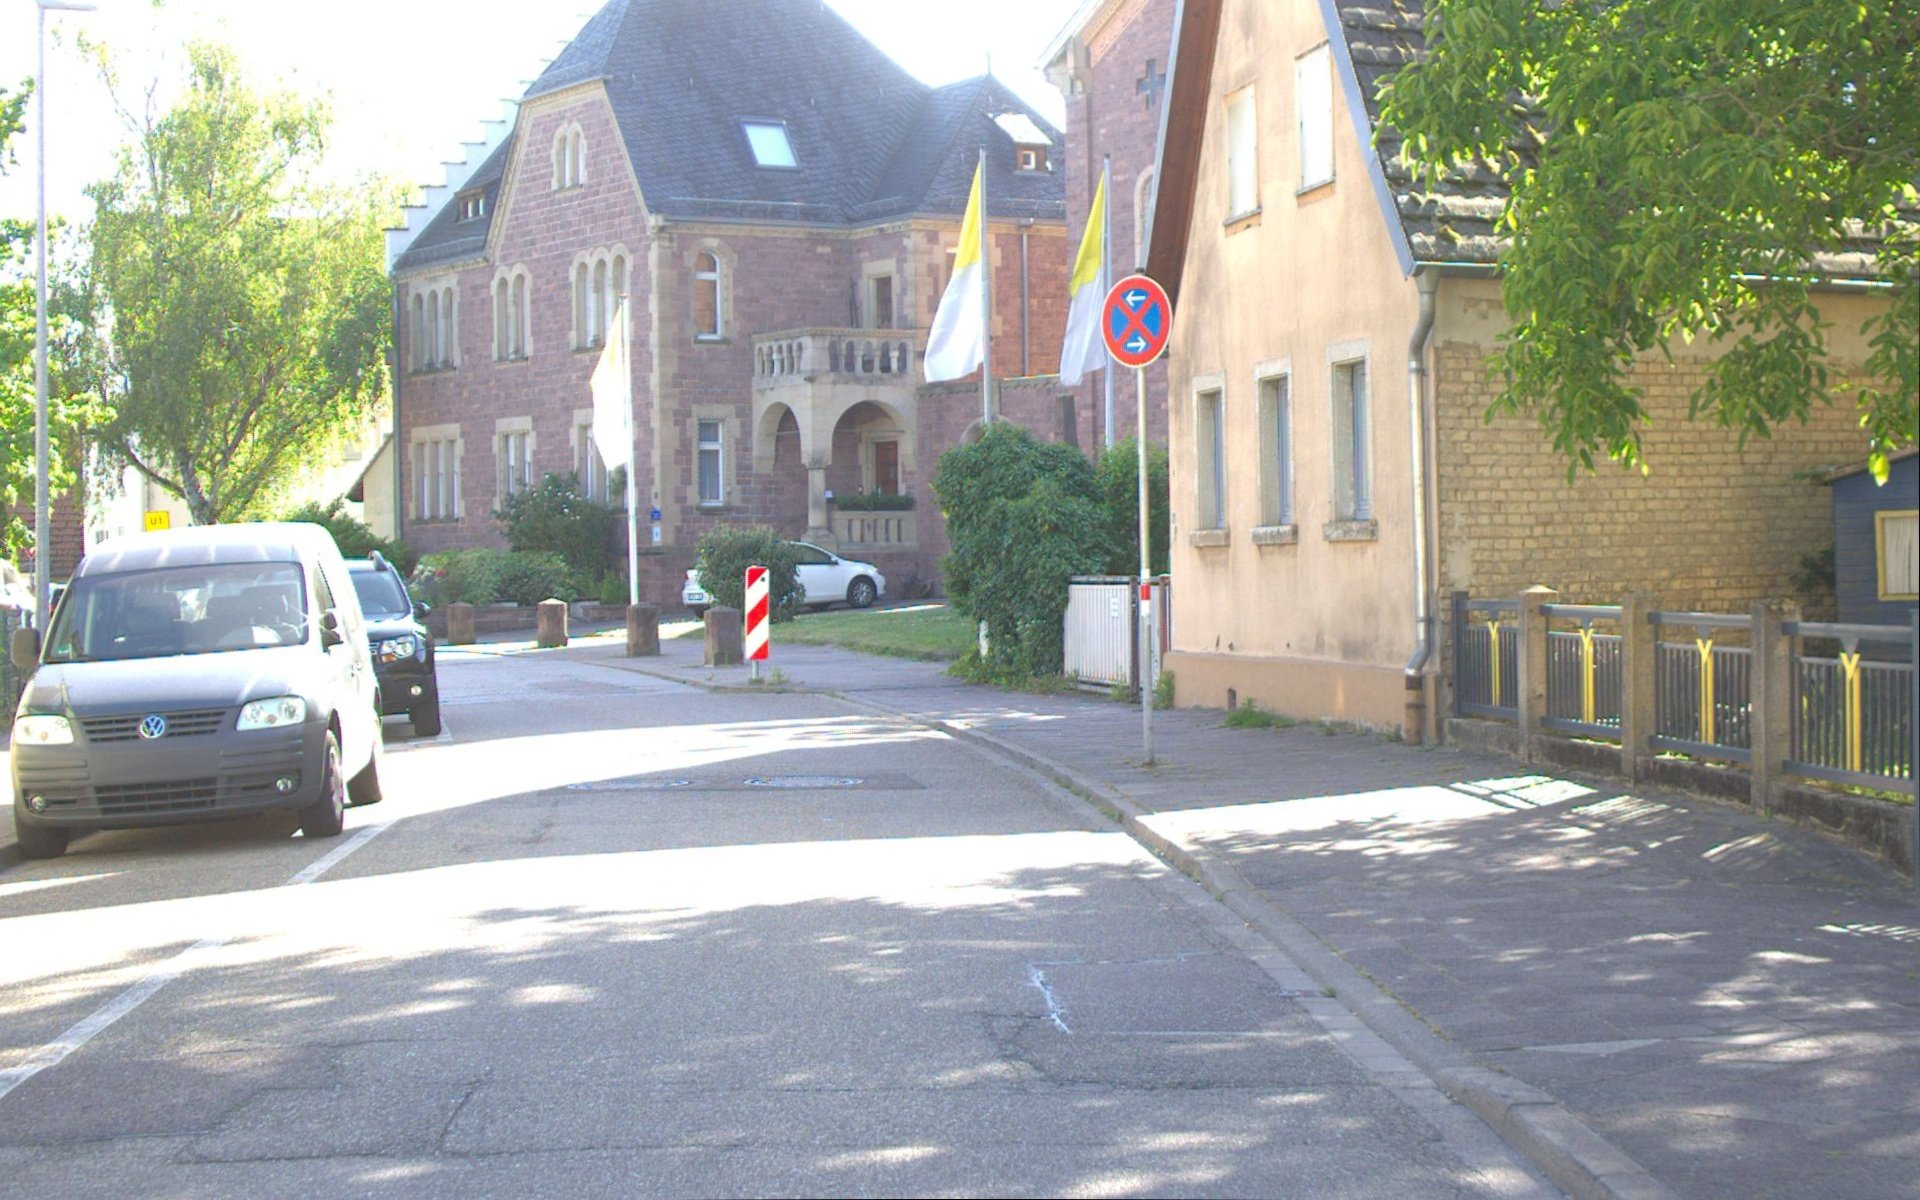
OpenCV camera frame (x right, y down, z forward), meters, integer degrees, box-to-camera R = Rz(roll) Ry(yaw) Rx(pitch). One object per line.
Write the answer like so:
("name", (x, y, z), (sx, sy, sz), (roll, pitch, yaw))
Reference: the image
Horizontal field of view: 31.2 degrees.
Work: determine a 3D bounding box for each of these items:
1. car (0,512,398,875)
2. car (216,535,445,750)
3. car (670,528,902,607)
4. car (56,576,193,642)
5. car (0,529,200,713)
("car", (-4.489, 0.451, 20.328), (1.825, 1.808, 4.203), (-4, 2, -4))
("car", (-5.854, 0.329, 31.649), (1.825, 1.726, 4.203), (-4, 2, -12))
("car", (-3.422, -0.646, 67.881), (4.234, 1.396, 1.718), (-3, 1, -34))
("car", (-19.017, 0.194, 78.140), (1.712, 1.396, 4.247), (-3, 1, -32))
("car", (-10.096, 0.280, 35.280), (4.187, 1.726, 1.832), (-4, 2, -19))
